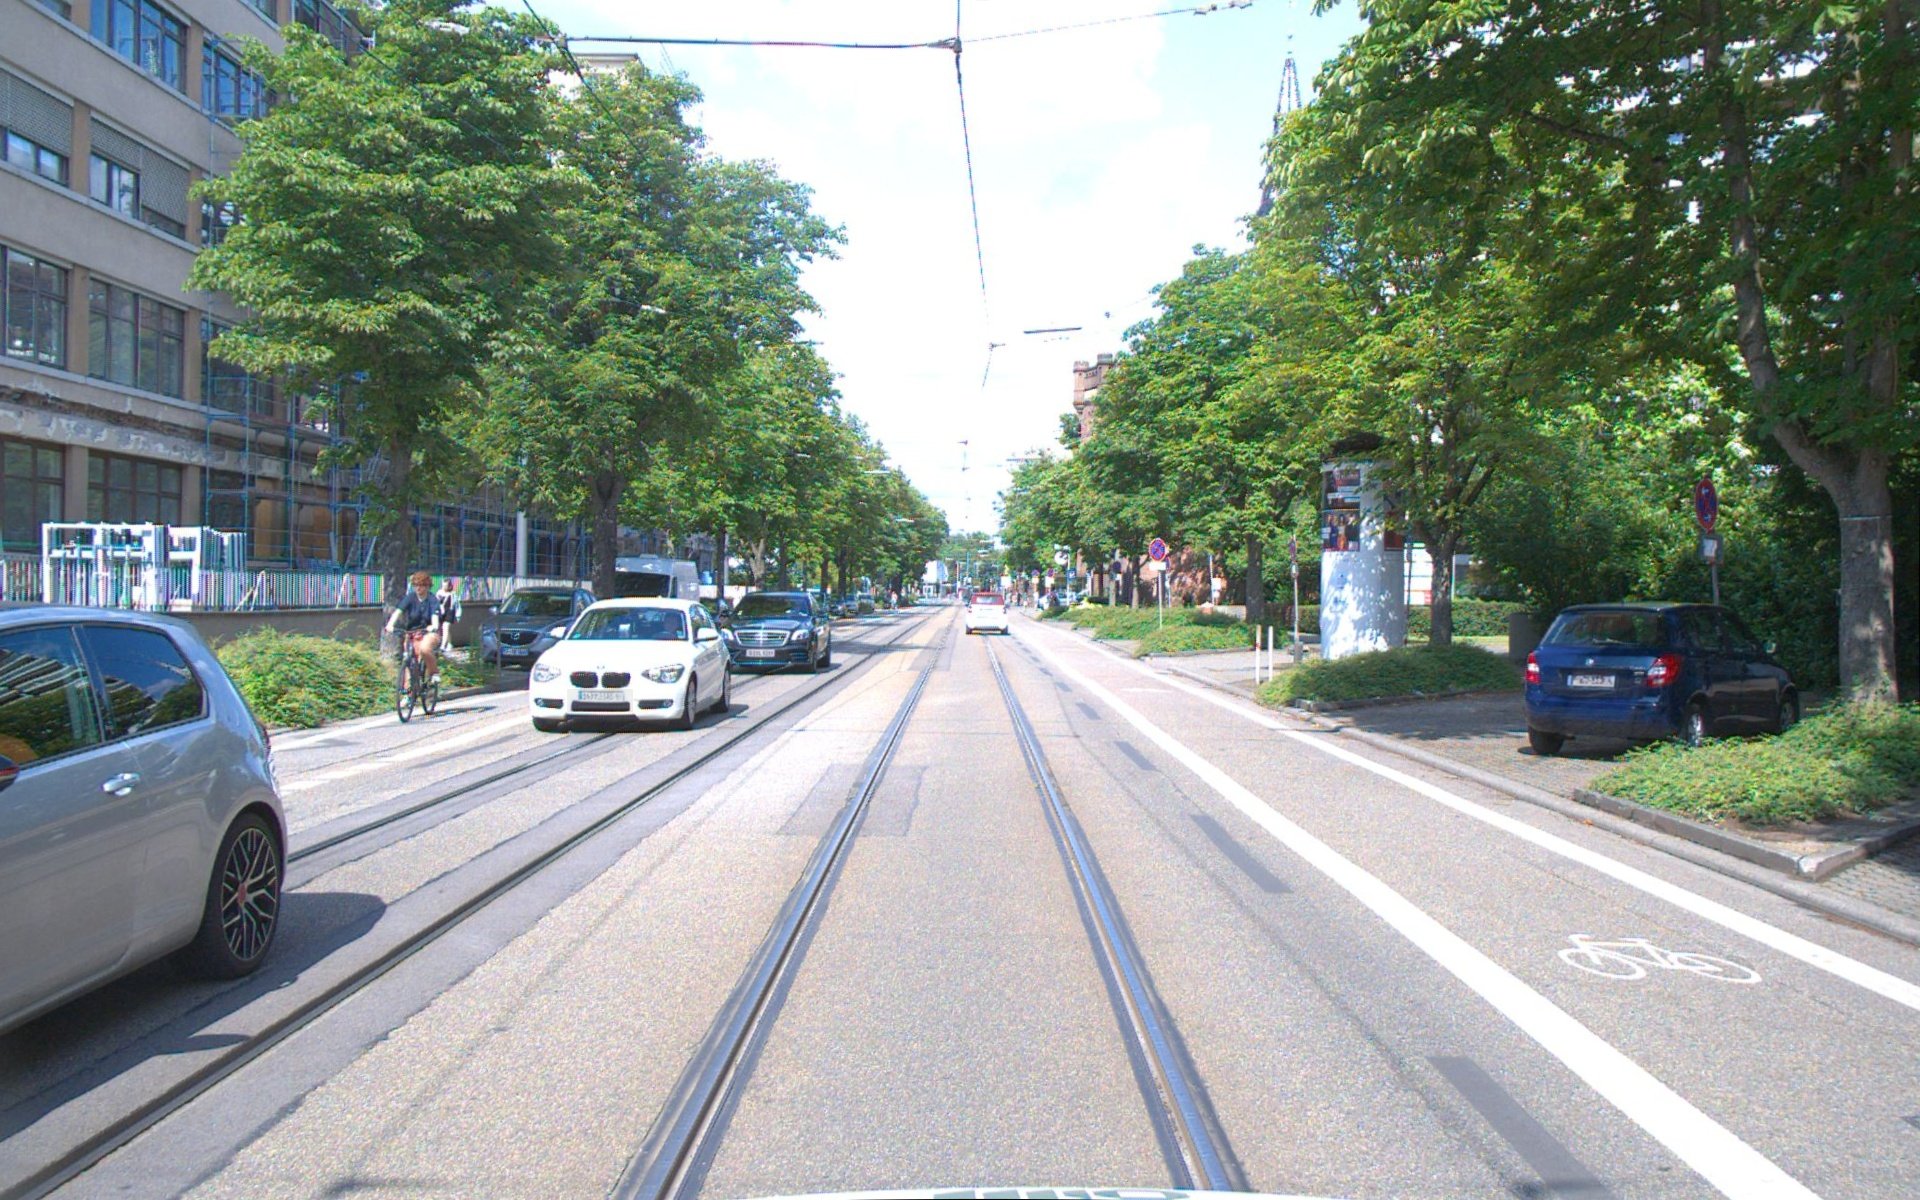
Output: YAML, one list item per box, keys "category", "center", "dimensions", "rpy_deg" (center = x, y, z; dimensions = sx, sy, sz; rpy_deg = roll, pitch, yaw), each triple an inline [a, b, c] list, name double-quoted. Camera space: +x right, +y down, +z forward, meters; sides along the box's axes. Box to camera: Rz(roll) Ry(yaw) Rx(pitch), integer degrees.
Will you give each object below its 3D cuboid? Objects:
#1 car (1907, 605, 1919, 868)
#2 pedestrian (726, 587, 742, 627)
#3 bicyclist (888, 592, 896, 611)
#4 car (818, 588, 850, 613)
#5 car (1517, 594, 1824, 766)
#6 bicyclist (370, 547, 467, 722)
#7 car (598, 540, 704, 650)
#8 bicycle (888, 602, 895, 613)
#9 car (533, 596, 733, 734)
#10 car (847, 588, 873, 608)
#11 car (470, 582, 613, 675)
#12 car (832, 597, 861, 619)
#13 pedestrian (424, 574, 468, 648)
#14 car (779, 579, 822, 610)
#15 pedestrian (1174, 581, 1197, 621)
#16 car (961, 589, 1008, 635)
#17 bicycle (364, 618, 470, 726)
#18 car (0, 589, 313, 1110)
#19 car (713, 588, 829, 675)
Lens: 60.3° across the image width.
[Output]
- category: "car"
  center: [7.392, 0.834, 10.138]
  dimensions: [3.772, 1.500, 1.628]
  rpy_deg: [1, 1, -42]
- category: "pedestrian"
  center: [-11.632, 0.375, 85.147]
  dimensions: [0.788, 2.049, 0.484]
  rpy_deg: [1, 0, -9]
- category: "bicyclist"
  center: [-5.962, 0.136, 144.517]
  dimensions: [0.645, 1.607, 0.946]
  rpy_deg: [2, 0, -2]
- category: "car"
  center: [-8.102, 0.020, 106.577]
  dimensions: [1.767, 1.543, 4.103]
  rpy_deg: [1, 0, 0]
- category: "car"
  center: [7.318, 0.715, 16.852]
  dimensions: [1.589, 1.512, 3.973]
  rpy_deg: [0, 0, 44]
- category: "bicyclist"
  center: [-6.530, 0.408, 19.979]
  dimensions: [0.859, 2.049, 0.833]
  rpy_deg: [-1, -1, -1]
- category: "car"
  center: [-8.127, -0.121, 43.906]
  dimensions: [1.733, 2.685, 5.322]
  rpy_deg: [2, 0, 0]
- category: "bicycle"
  center: [-5.981, 0.641, 144.496]
  dimensions: [0.606, 0.990, 1.716]
  rpy_deg: [1, 0, -2]
- category: "car"
  center: [-3.702, 0.681, 19.396]
  dimensions: [1.652, 1.430, 4.224]
  rpy_deg: [0, 0, -2]
- category: "car"
  center: [-7.897, -0.147, 131.252]
  dimensions: [1.767, 1.543, 4.103]
  rpy_deg: [1, 0, 0]
- category: "car"
  center: [-8.319, 0.531, 33.231]
  dimensions: [1.768, 1.691, 4.103]
  rpy_deg: [2, 0, 0]
- category: "car"
  center: [-8.140, 0.558, 119.170]
  dimensions: [1.768, 1.543, 4.103]
  rpy_deg: [2, 0, 0]
- category: "pedestrian"
  center: [-11.656, 0.248, 37.535]
  dimensions: [0.749, 1.648, 0.594]
  rpy_deg: [2, 0, 0]
- category: "car"
  center: [-8.154, -0.275, 84.651]
  dimensions: [1.767, 1.543, 4.103]
  rpy_deg: [1, 0, 0]
- category: "pedestrian"
  center: [11.846, 0.055, 86.960]
  dimensions: [0.957, 2.049, 1.093]
  rpy_deg: [2, 0, -1]
- category: "car"
  center: [0.897, 0.420, 62.183]
  dimensions: [1.632, 1.653, 3.619]
  rpy_deg: [0, 1, -2]
- category: "bicycle"
  center: [-6.528, 0.834, 19.982]
  dimensions: [0.630, 1.186, 1.944]
  rpy_deg: [-2, 0, -1]
- category: "car"
  center: [-3.531, 0.700, 4.853]
  dimensions: [1.737, 1.441, 3.852]
  rpy_deg: [-1, 0, 0]
- category: "car"
  center: [-3.613, 0.573, 32.236]
  dimensions: [1.763, 1.534, 4.535]
  rpy_deg: [1, 0, -1]
